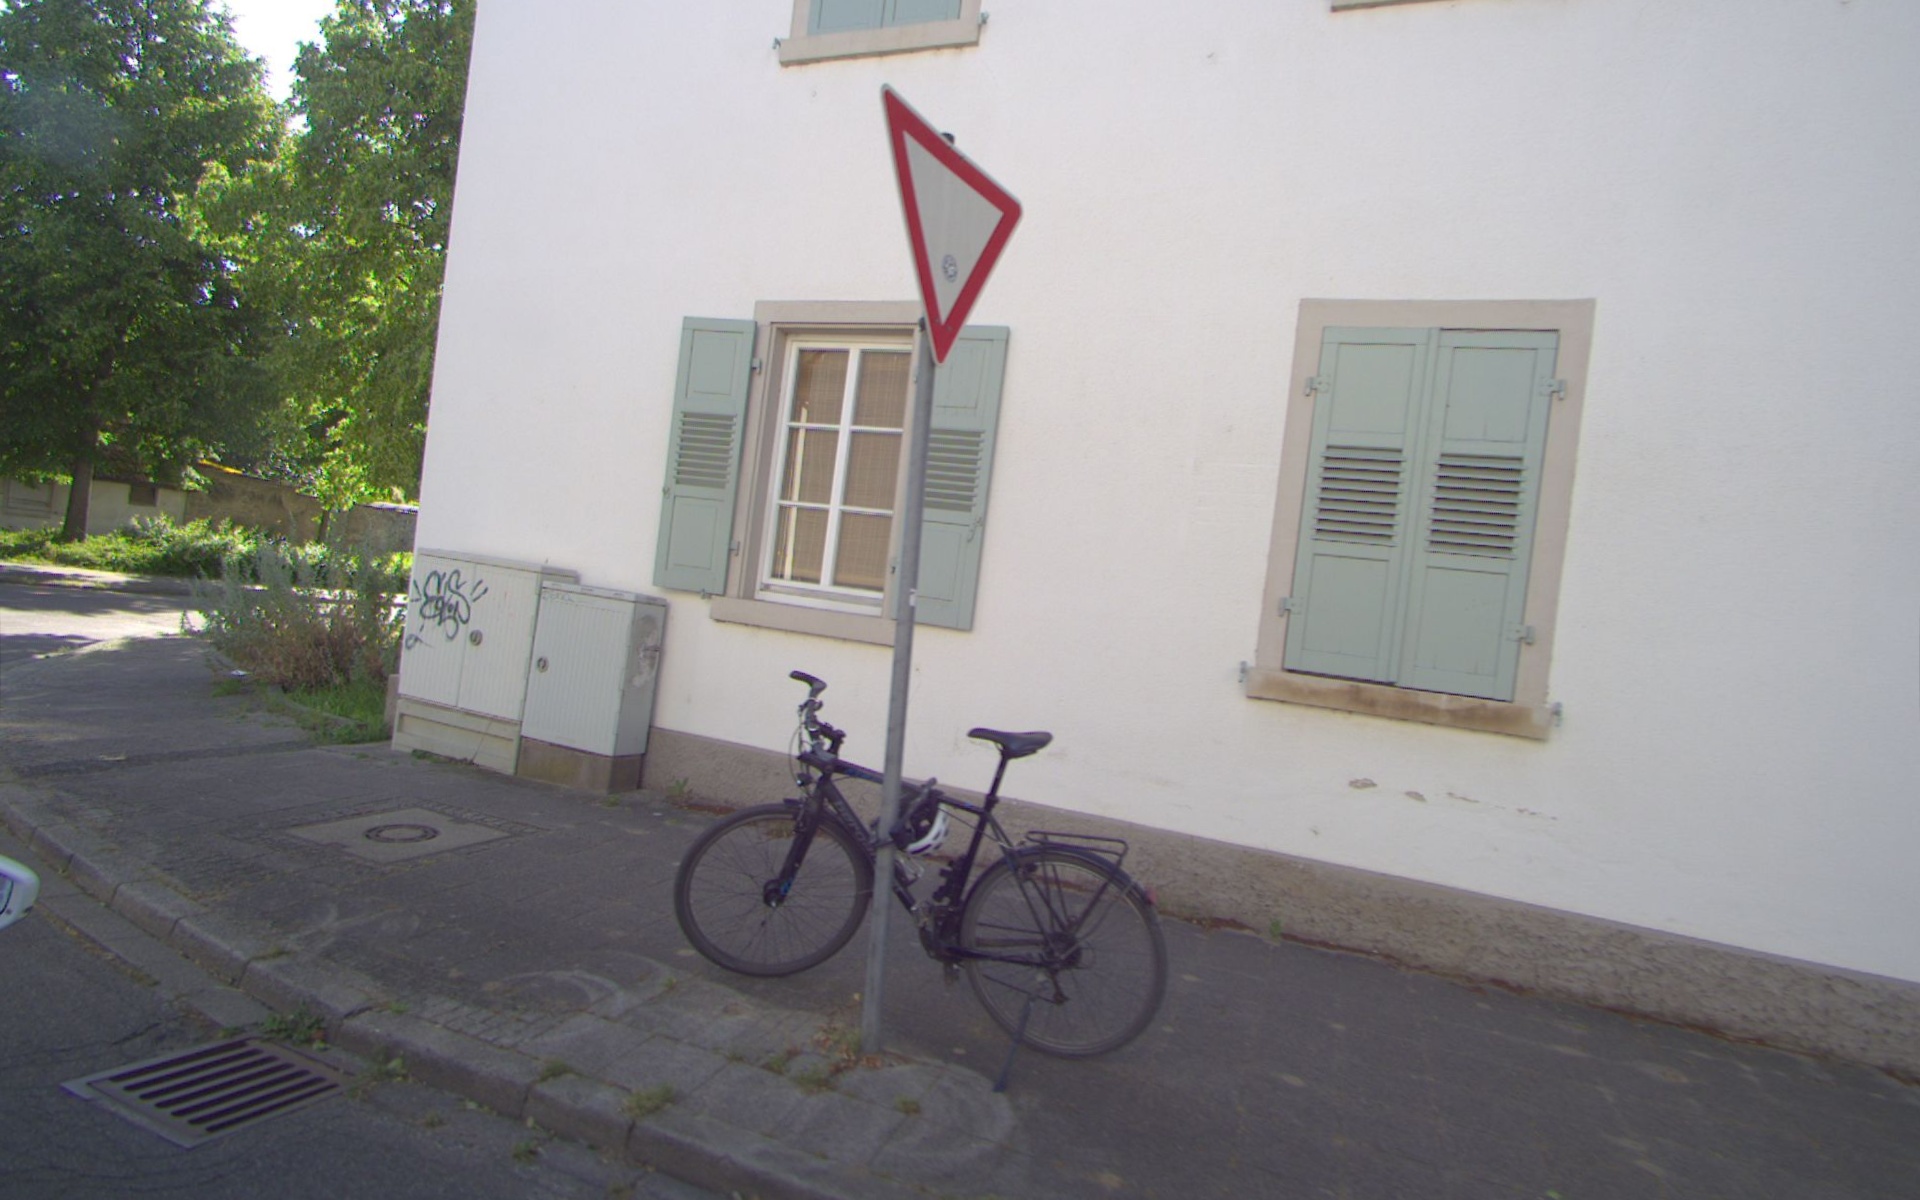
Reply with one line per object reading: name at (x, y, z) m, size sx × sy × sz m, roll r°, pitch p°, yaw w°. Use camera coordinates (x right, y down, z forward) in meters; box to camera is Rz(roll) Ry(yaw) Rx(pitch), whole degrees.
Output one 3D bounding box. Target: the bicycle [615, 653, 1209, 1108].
bicycle at (-0.177, 0.845, 3.393) m, size 1.854 × 1.093 × 0.436 m, roll 7°, pitch 1°, yaw 16°
